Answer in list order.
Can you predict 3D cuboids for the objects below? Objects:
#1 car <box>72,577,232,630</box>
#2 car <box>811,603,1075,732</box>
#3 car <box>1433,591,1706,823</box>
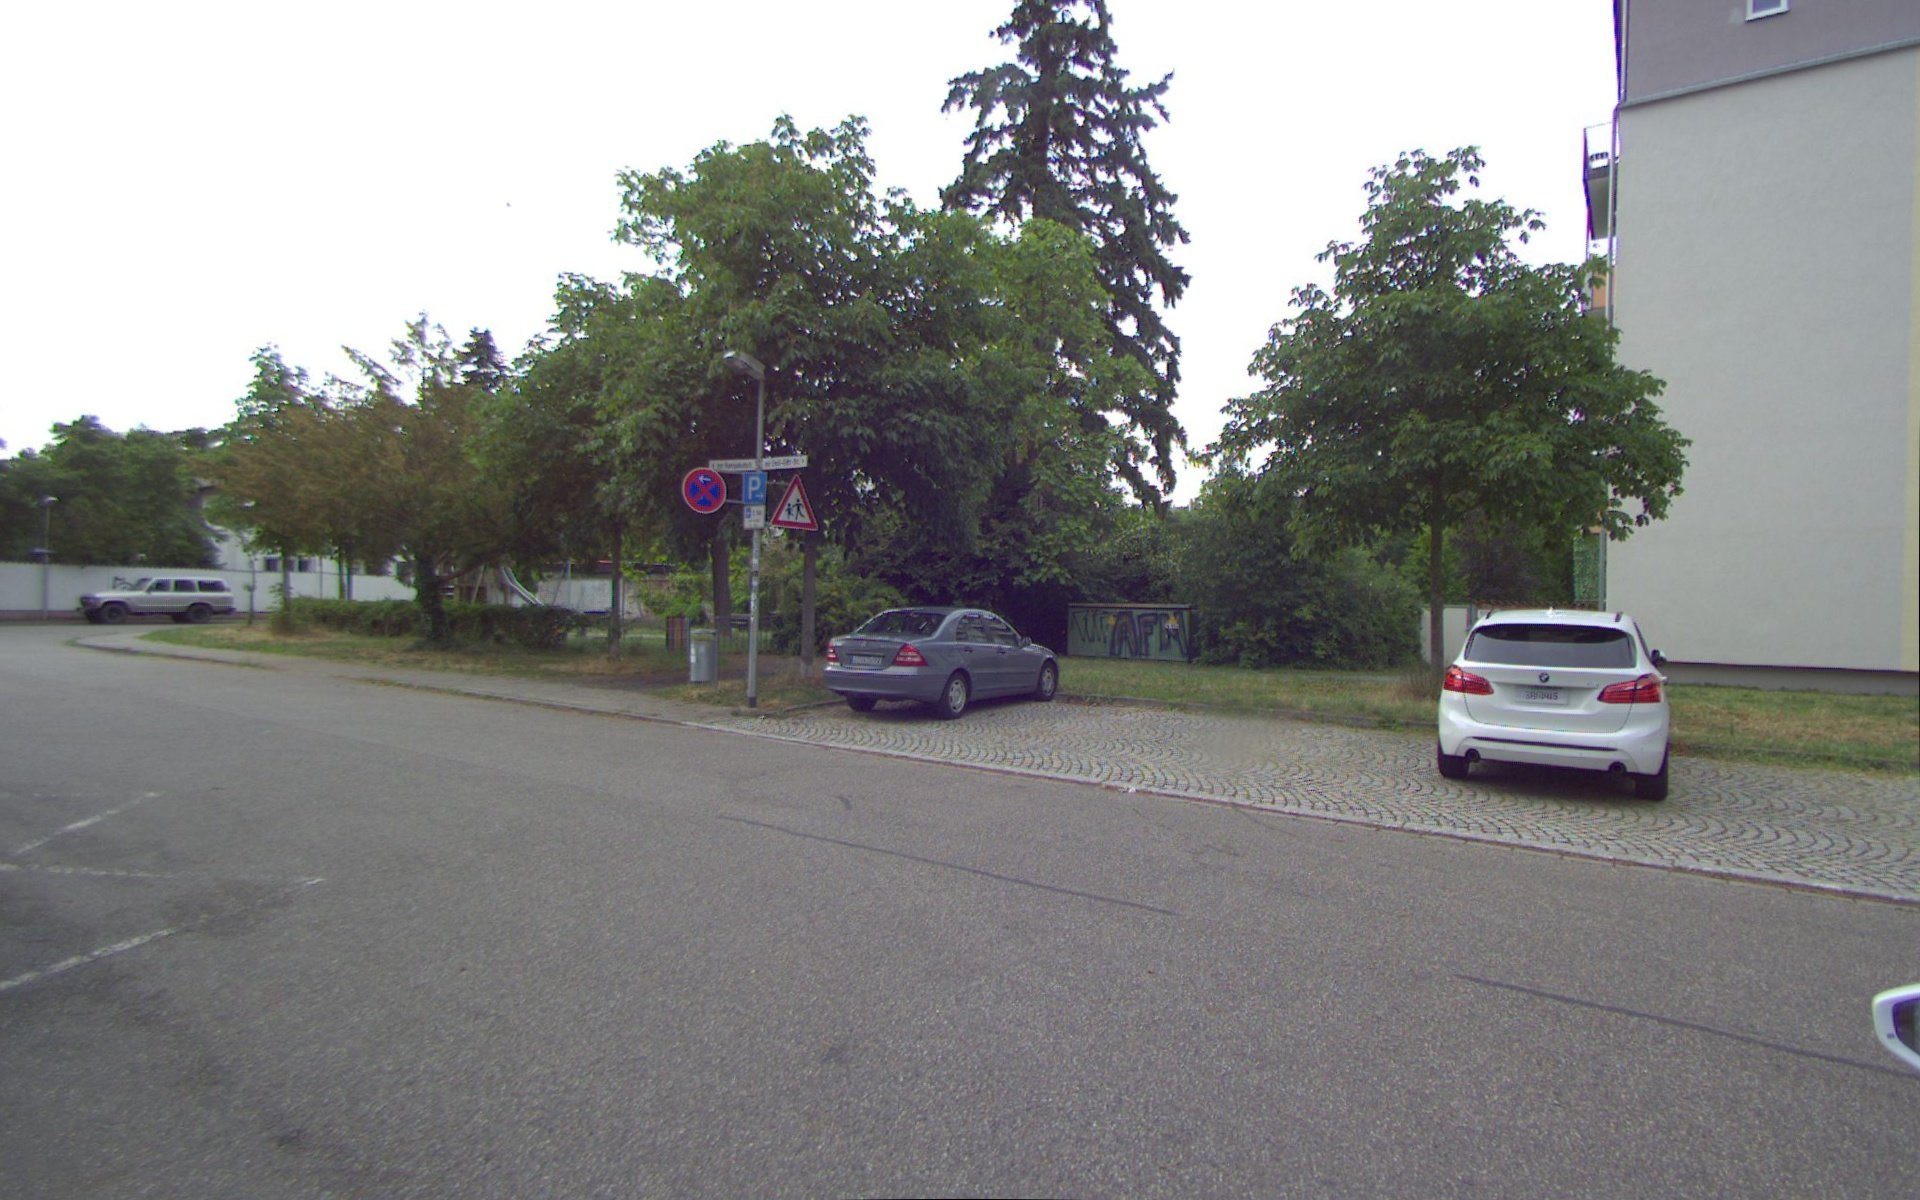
[{"bbox_3d":[-31.703,0.143,39.556,1.965,1.884,4.484,4,1,31],"label":"car"},{"bbox_3d":[-0.042,0.807,14.328,1.650,1.474,4.550,1,1,30],"label":"car"},{"bbox_3d":[6.071,0.799,9.902,1.853,1.582,4.134,3,4,35],"label":"car"}]
